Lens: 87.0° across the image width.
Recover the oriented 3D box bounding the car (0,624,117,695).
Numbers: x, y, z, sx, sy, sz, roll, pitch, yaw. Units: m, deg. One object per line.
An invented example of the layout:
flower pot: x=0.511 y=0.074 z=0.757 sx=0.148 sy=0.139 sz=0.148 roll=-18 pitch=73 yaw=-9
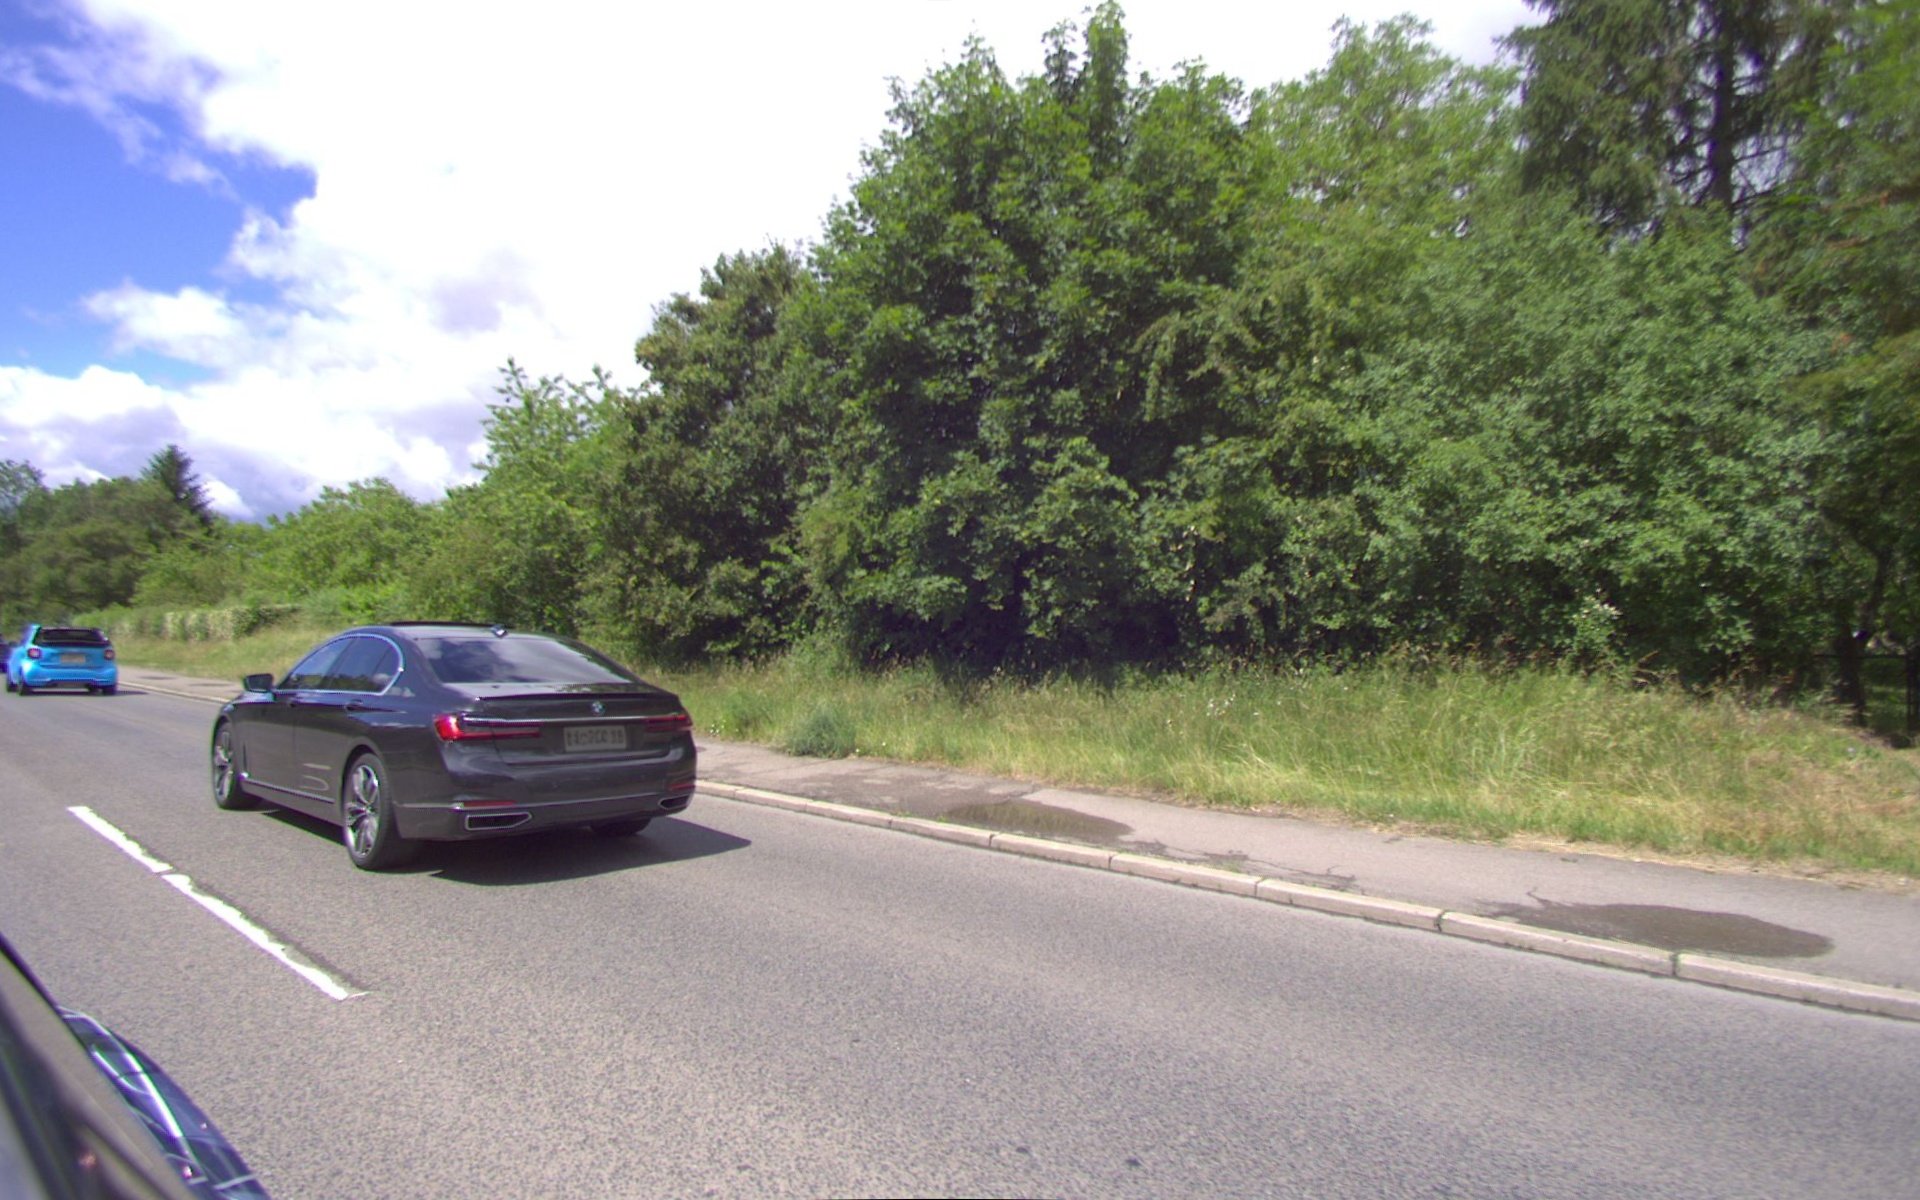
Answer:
car: x=-20.332 y=1.316 z=22.591 sx=2.963 sy=1.458 sz=1.766 roll=-2 pitch=-4 yaw=40

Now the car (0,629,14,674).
car: x=-33.256 y=1.690 z=33.830 sx=4.448 sy=1.458 sz=1.766 roll=-2 pitch=-4 yaw=40

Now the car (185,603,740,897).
car: x=-3.859 y=0.870 z=7.432 sx=4.713 sy=1.503 sz=1.865 roll=-2 pitch=-4 yaw=40
